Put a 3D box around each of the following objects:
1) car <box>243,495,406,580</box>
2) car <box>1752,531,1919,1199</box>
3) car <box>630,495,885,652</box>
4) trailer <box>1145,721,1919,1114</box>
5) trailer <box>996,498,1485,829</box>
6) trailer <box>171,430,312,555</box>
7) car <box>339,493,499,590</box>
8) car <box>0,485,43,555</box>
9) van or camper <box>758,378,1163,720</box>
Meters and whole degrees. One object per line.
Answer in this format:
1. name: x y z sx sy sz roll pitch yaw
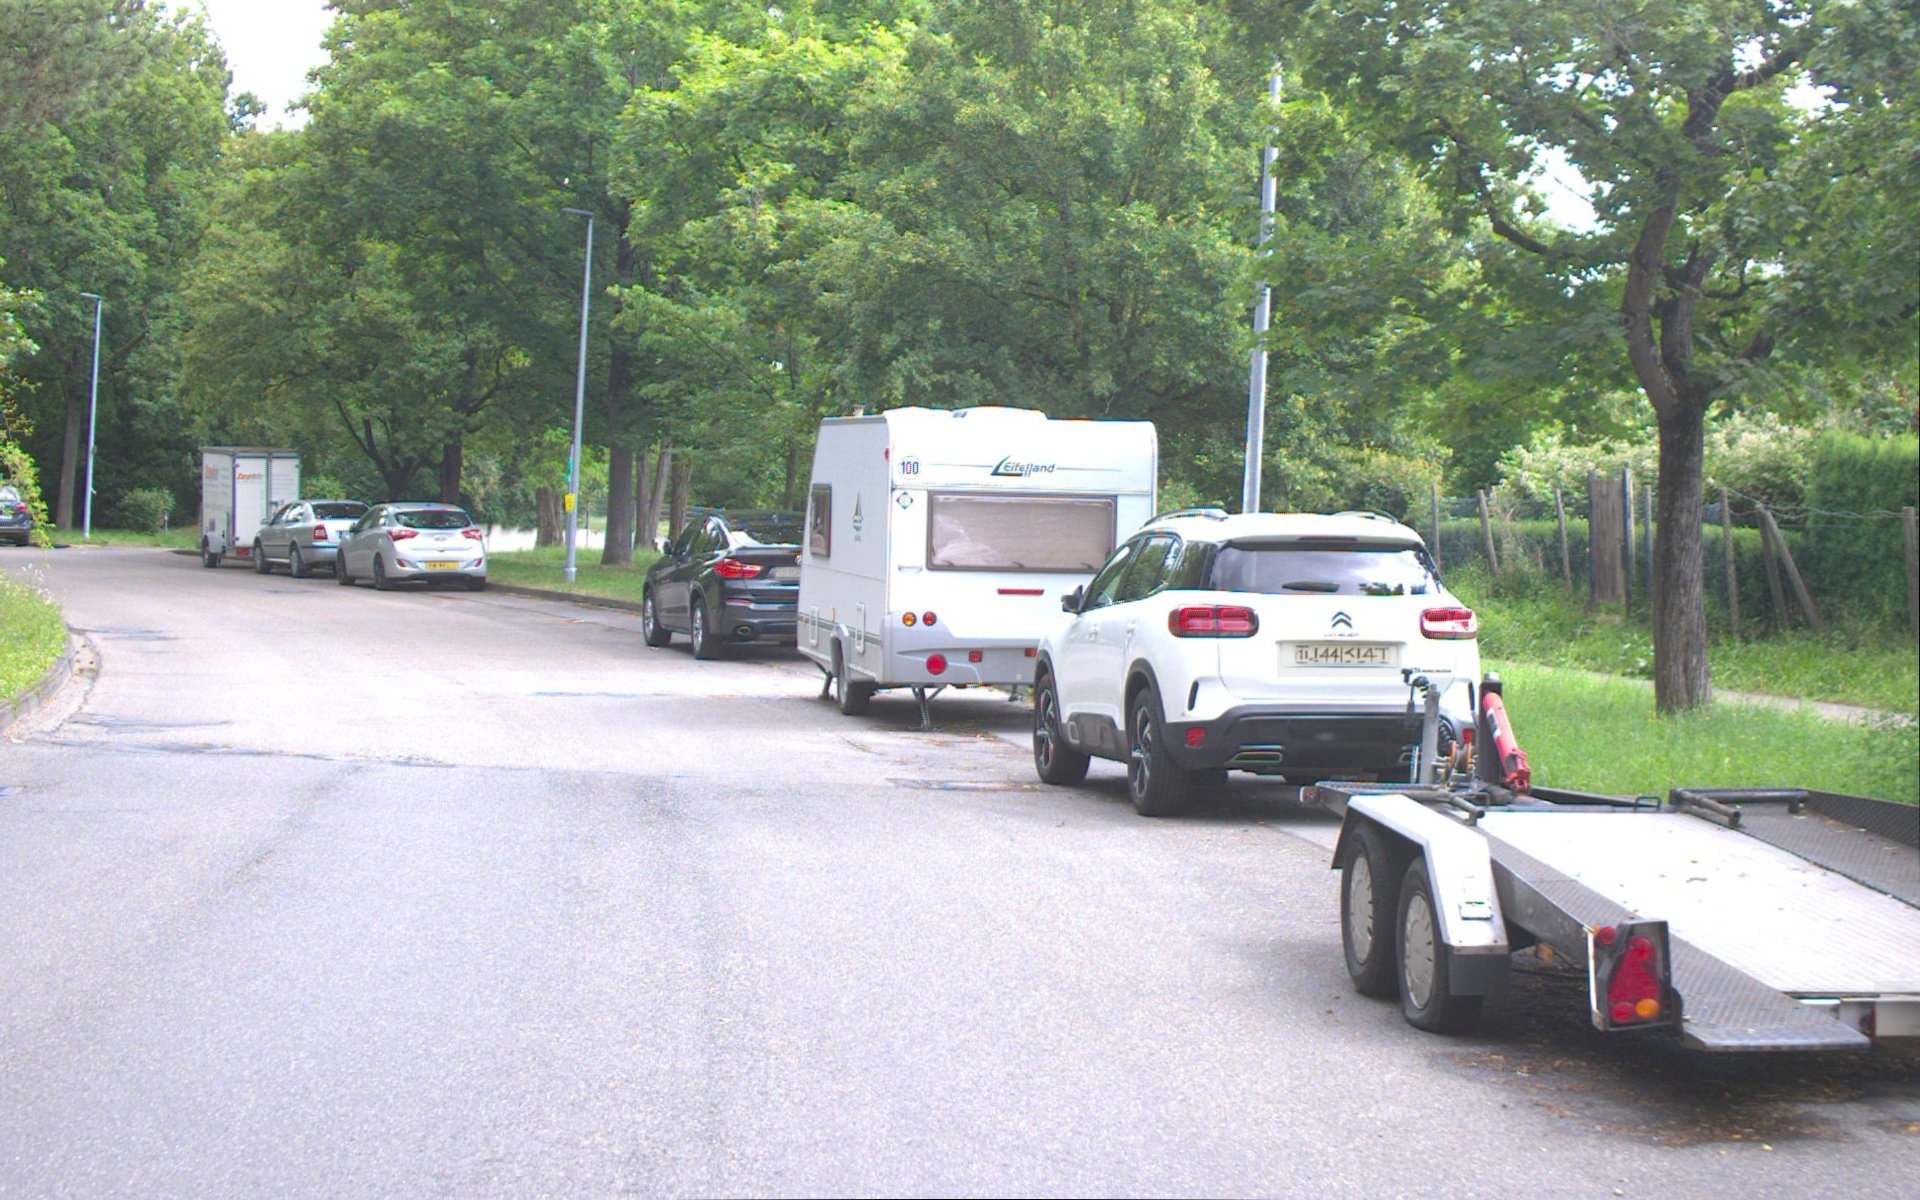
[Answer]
1. car: -12.015 -1.195 64.767 1.741 1.520 4.636 1 1 -27
2. car: 2.905 0.652 6.344 1.729 1.517 3.405 2 0 -6
3. car: -2.361 -0.343 38.899 1.848 1.637 4.532 1 1 -17
4. trailer: 2.269 0.946 11.944 2.103 0.649 6.403 3 1 -7
5. trailer: 1.508 0.321 20.358 1.772 1.725 4.651 0 0 -10
6. trailer: -14.553 -2.175 69.529 1.760 2.418 3.888 1 2 -28
7. car: -9.261 -0.966 58.606 1.901 1.471 4.060 3 -1 -20
8. car: -24.674 -2.025 85.922 1.775 1.657 4.840 3 0 -35
9. van or camper: -0.156 -0.437 29.389 2.160 2.527 6.033 3 1 -12
